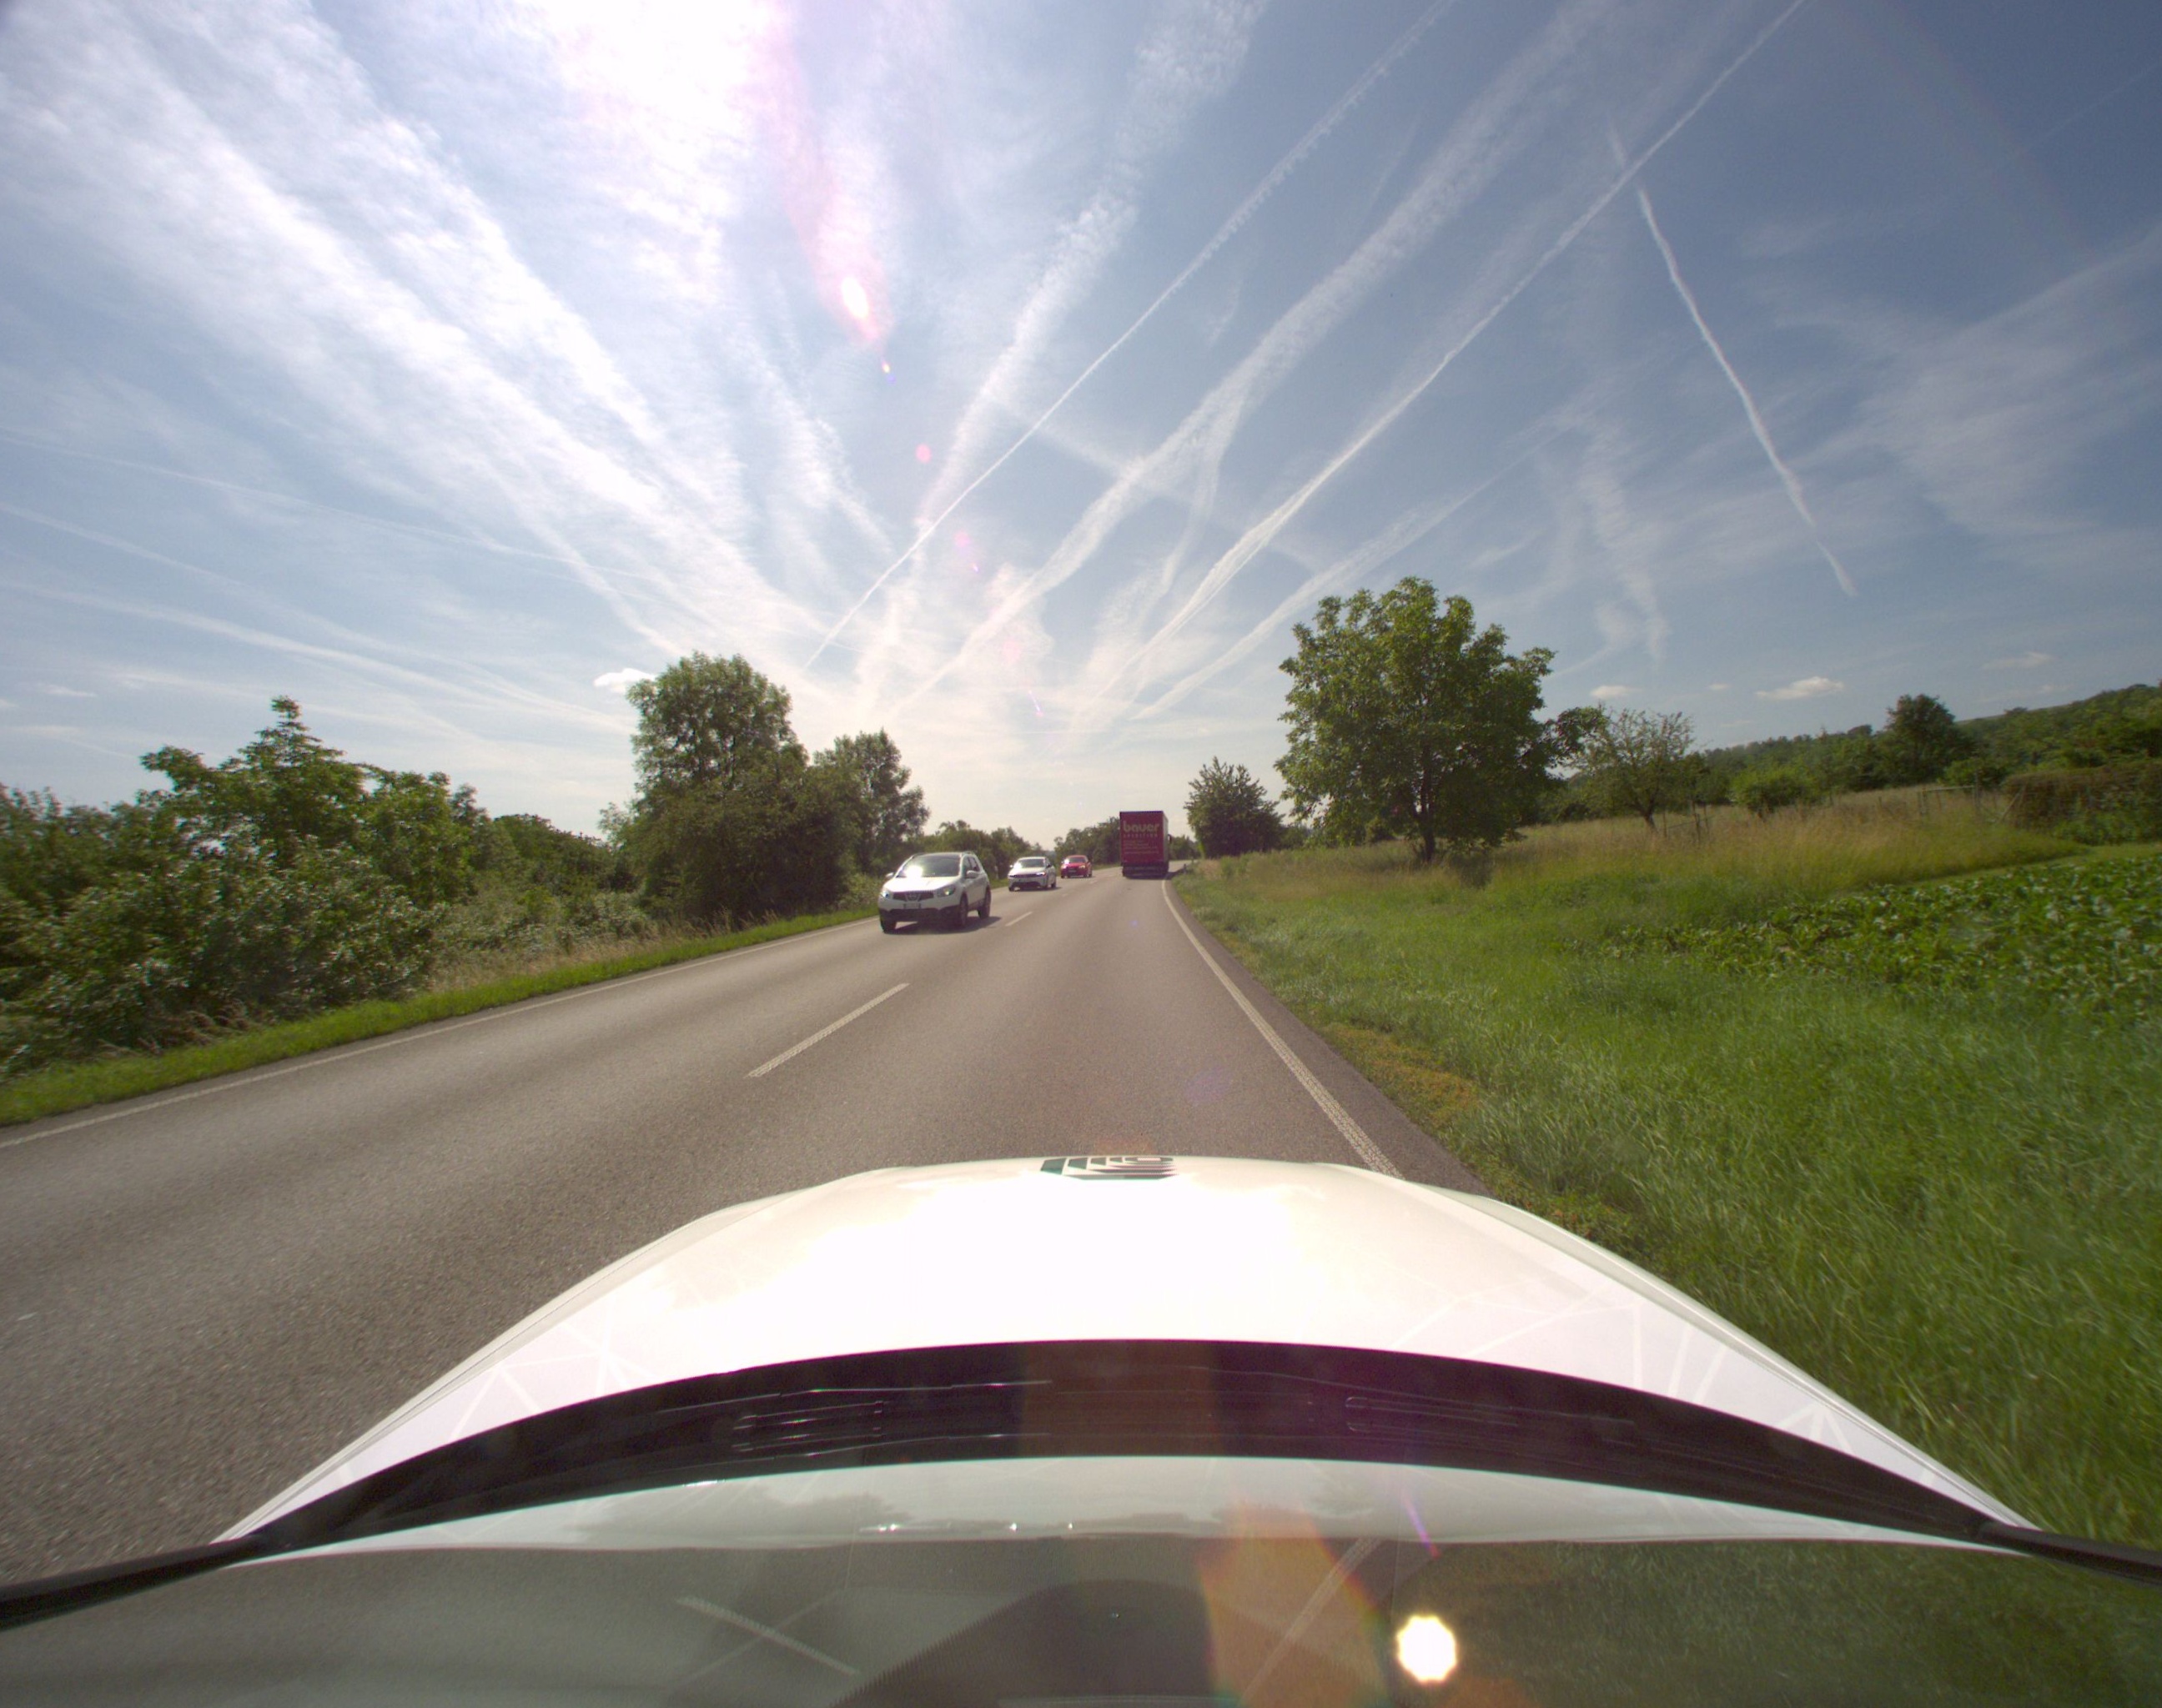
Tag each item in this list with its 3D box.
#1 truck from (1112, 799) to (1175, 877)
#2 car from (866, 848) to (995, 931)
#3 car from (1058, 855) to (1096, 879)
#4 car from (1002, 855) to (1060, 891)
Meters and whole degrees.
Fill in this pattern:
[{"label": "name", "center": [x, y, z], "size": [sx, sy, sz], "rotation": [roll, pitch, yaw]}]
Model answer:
[{"label": "truck", "center": [4.265, -0.842, 52.891], "size": [3.094, 4.506, 12.197], "rotation": [0, -1, 9]}, {"label": "car", "center": [-3.293, 0.712, 18.702], "size": [1.825, 1.617, 4.367], "rotation": [-2, 1, 4]}, {"label": "car", "center": [-0.237, 0.823, 53.327], "size": [1.810, 1.398, 4.193], "rotation": [-2, 0, 9]}, {"label": "car", "center": [-2.143, 0.799, 36.085], "size": [1.740, 1.414, 3.782], "rotation": [-3, 0, 9]}]
